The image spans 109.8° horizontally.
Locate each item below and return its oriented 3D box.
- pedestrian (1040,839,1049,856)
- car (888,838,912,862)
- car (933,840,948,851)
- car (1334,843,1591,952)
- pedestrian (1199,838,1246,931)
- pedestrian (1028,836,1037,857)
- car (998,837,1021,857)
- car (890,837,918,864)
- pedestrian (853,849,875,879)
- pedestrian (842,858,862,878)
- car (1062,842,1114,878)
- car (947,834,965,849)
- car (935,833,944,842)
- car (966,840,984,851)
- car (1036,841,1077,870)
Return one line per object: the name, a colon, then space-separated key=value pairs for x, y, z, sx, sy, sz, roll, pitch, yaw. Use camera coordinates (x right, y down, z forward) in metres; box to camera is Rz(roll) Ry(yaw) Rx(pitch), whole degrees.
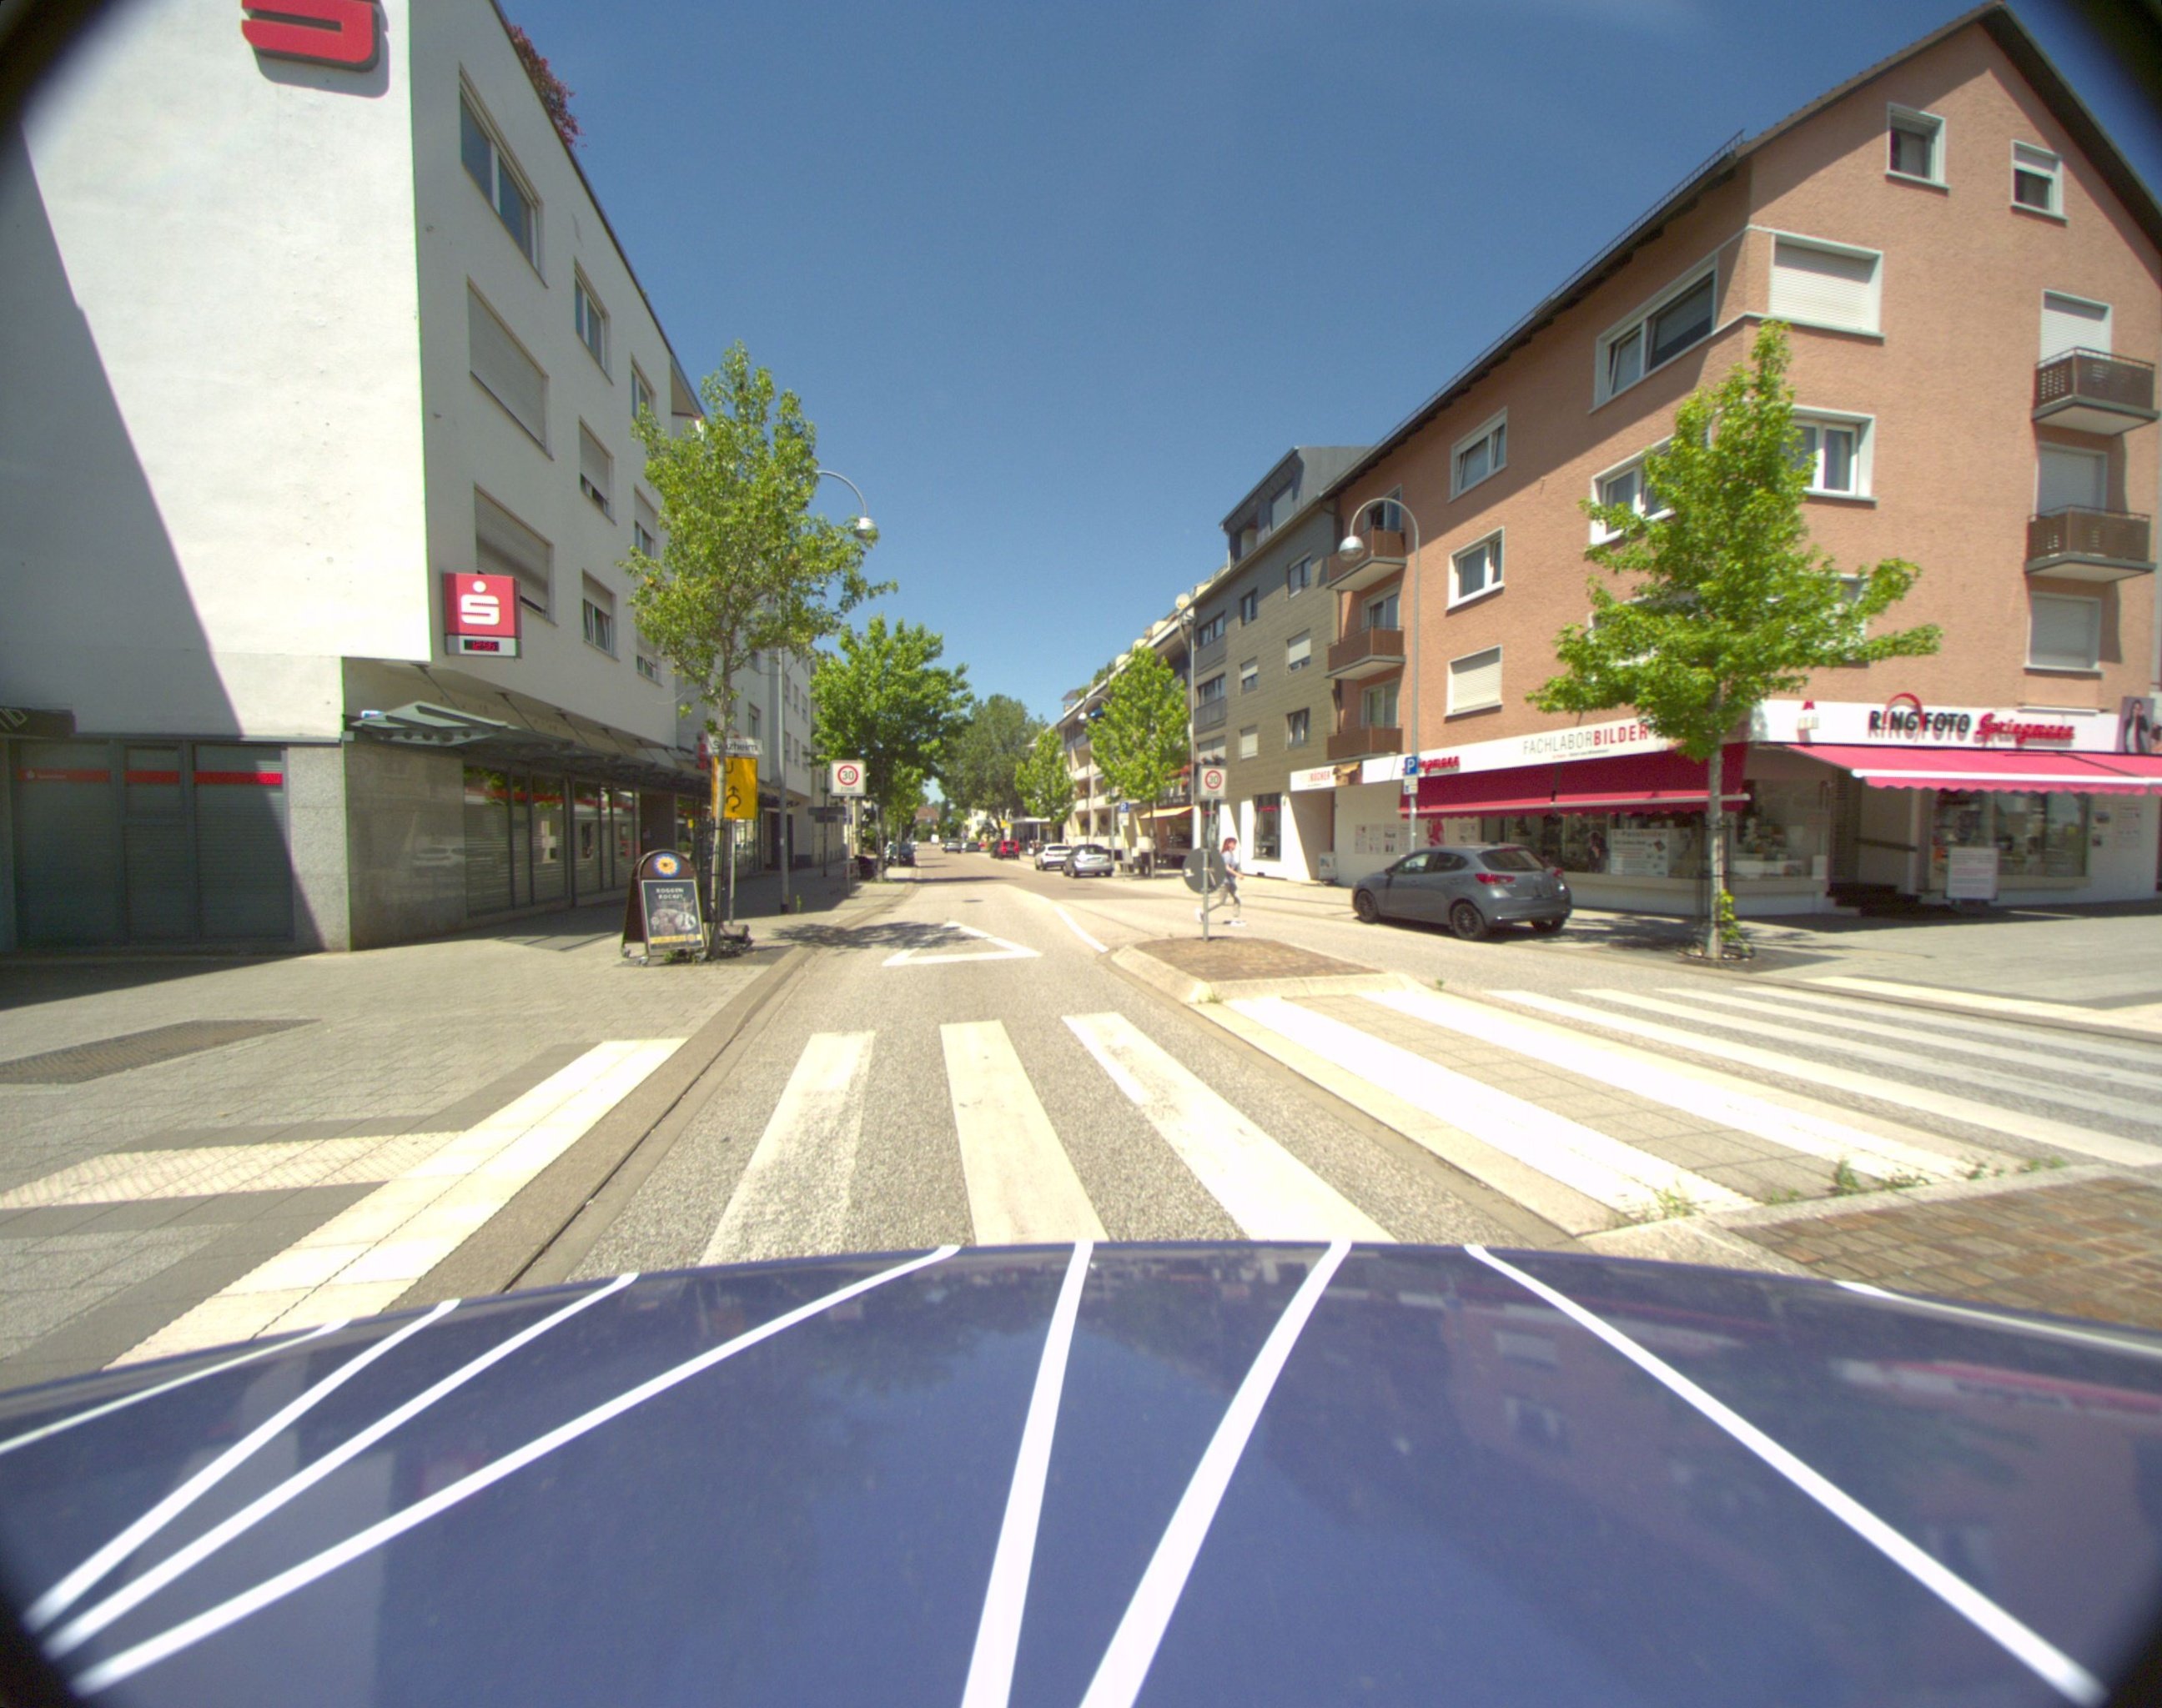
pedestrian: x=-3.242 y=-0.548 z=67.227 sx=0.779 sy=1.490 sz=0.697 roll=0 pitch=2 yaw=0
car: x=-13.996 y=-0.341 z=58.664 sx=1.695 sy=1.712 sz=4.127 roll=-1 pitch=1 yaw=-14
car: x=-22.166 y=-1.350 z=120.142 sx=1.778 sy=1.623 sz=4.292 roll=-1 pitch=2 yaw=-18
car: x=6.316 y=0.594 z=13.141 sx=1.673 sy=1.478 sz=4.054 roll=-3 pitch=2 yaw=-15
pedestrian: x=2.467 y=0.514 z=13.286 sx=0.734 sy=1.601 sz=0.559 roll=0 pitch=2 yaw=4
pedestrian: x=-4.231 y=-0.657 z=66.636 sx=0.668 sy=1.794 sz=0.685 roll=0 pitch=2 yaw=3
car: x=-6.313 y=-0.625 z=67.159 sx=1.646 sy=1.652 sz=3.366 roll=-2 pitch=2 yaw=-11
car: x=-12.392 y=-0.265 z=53.105 sx=1.695 sy=1.712 sz=3.994 roll=2 pitch=1 yaw=-15
pedestrian: x=-9.052 y=0.426 z=31.707 sx=0.762 sy=1.233 sz=0.538 roll=1 pitch=2 yaw=3
pedestrian: x=-9.686 y=0.588 z=32.134 sx=0.679 sy=0.847 sz=0.538 roll=1 pitch=2 yaw=2
car: x=0.263 y=0.214 z=33.726 sx=1.627 sy=1.465 sz=3.544 roll=-1 pitch=1 yaw=-11
car: x=-16.177 y=-1.619 z=98.017 sx=1.908 sy=1.744 sz=4.749 roll=0 pitch=1 yaw=-15
car: x=-39.275 y=-4.706 z=211.132 sx=2.234 sy=2.452 sz=5.242 roll=-1 pitch=1 yaw=-11
car: x=-14.897 y=-1.233 z=106.910 sx=2.001 sy=1.412 sz=3.993 roll=-1 pitch=1 yaw=-16
car: x=-1.490 y=0.027 z=44.069 sx=1.701 sy=1.583 sz=4.294 roll=-1 pitch=1 yaw=-11
